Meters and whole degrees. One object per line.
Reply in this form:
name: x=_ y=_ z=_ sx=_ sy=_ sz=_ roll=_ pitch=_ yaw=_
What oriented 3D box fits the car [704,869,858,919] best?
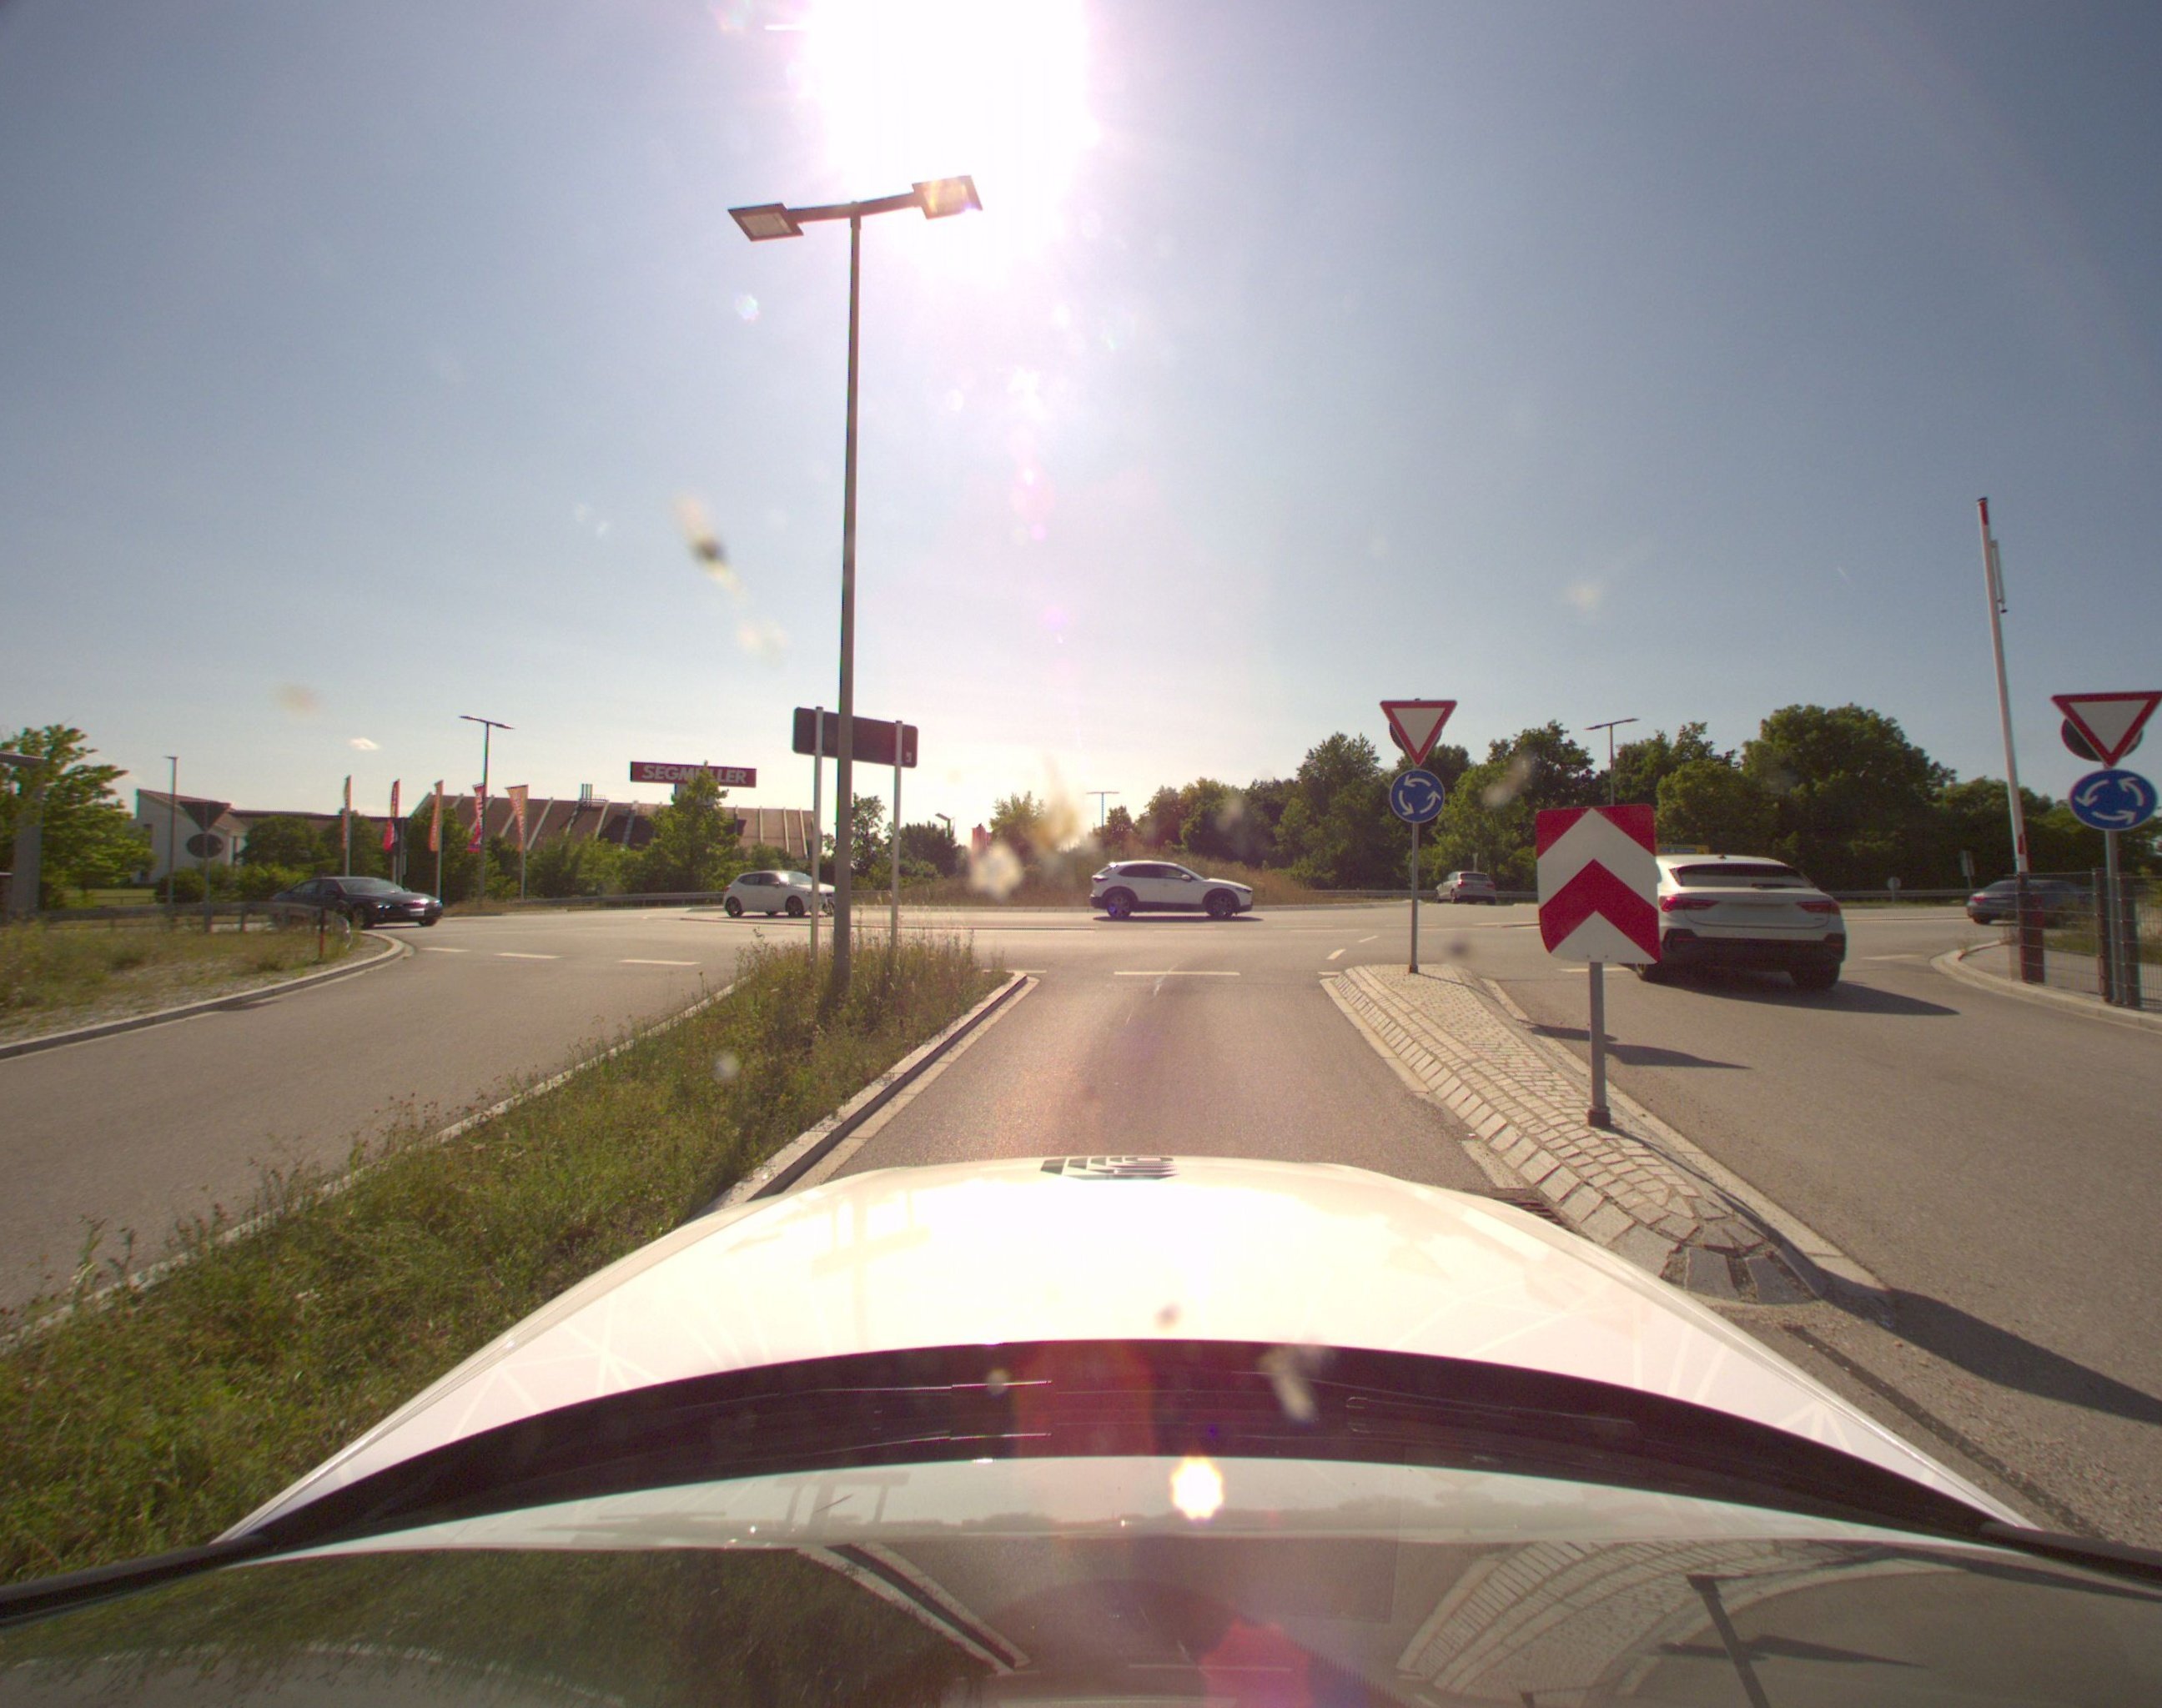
car: x=-9.345 y=1.197 z=25.381 sx=4.364 sy=1.405 sz=1.801 roll=0 pitch=-1 yaw=21

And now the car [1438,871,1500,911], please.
car: x=16.782 y=1.554 z=35.392 sx=1.763 sy=1.596 sz=4.016 roll=0 pitch=-1 yaw=15

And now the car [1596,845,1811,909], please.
car: x=14.129 y=0.529 z=18.511 sx=4.333 sy=1.352 sz=1.565 roll=1 pitch=-1 yaw=-15

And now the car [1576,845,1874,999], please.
car: x=8.092 y=0.743 z=10.778 sx=1.826 sy=1.596 sz=4.346 roll=-1 pitch=-1 yaw=20

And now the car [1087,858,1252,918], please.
car: x=2.388 y=0.894 z=21.996 sx=4.251 sy=1.530 sz=1.795 roll=0 pitch=-1 yaw=6

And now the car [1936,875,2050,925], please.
car: x=29.513 y=1.426 z=26.323 sx=4.894 sy=1.452 sz=1.978 roll=2 pitch=-1 yaw=-36

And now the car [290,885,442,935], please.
car: x=-19.502 y=1.475 z=22.203 sx=3.817 sy=1.182 sz=1.686 roll=0 pitch=-1 yaw=25
